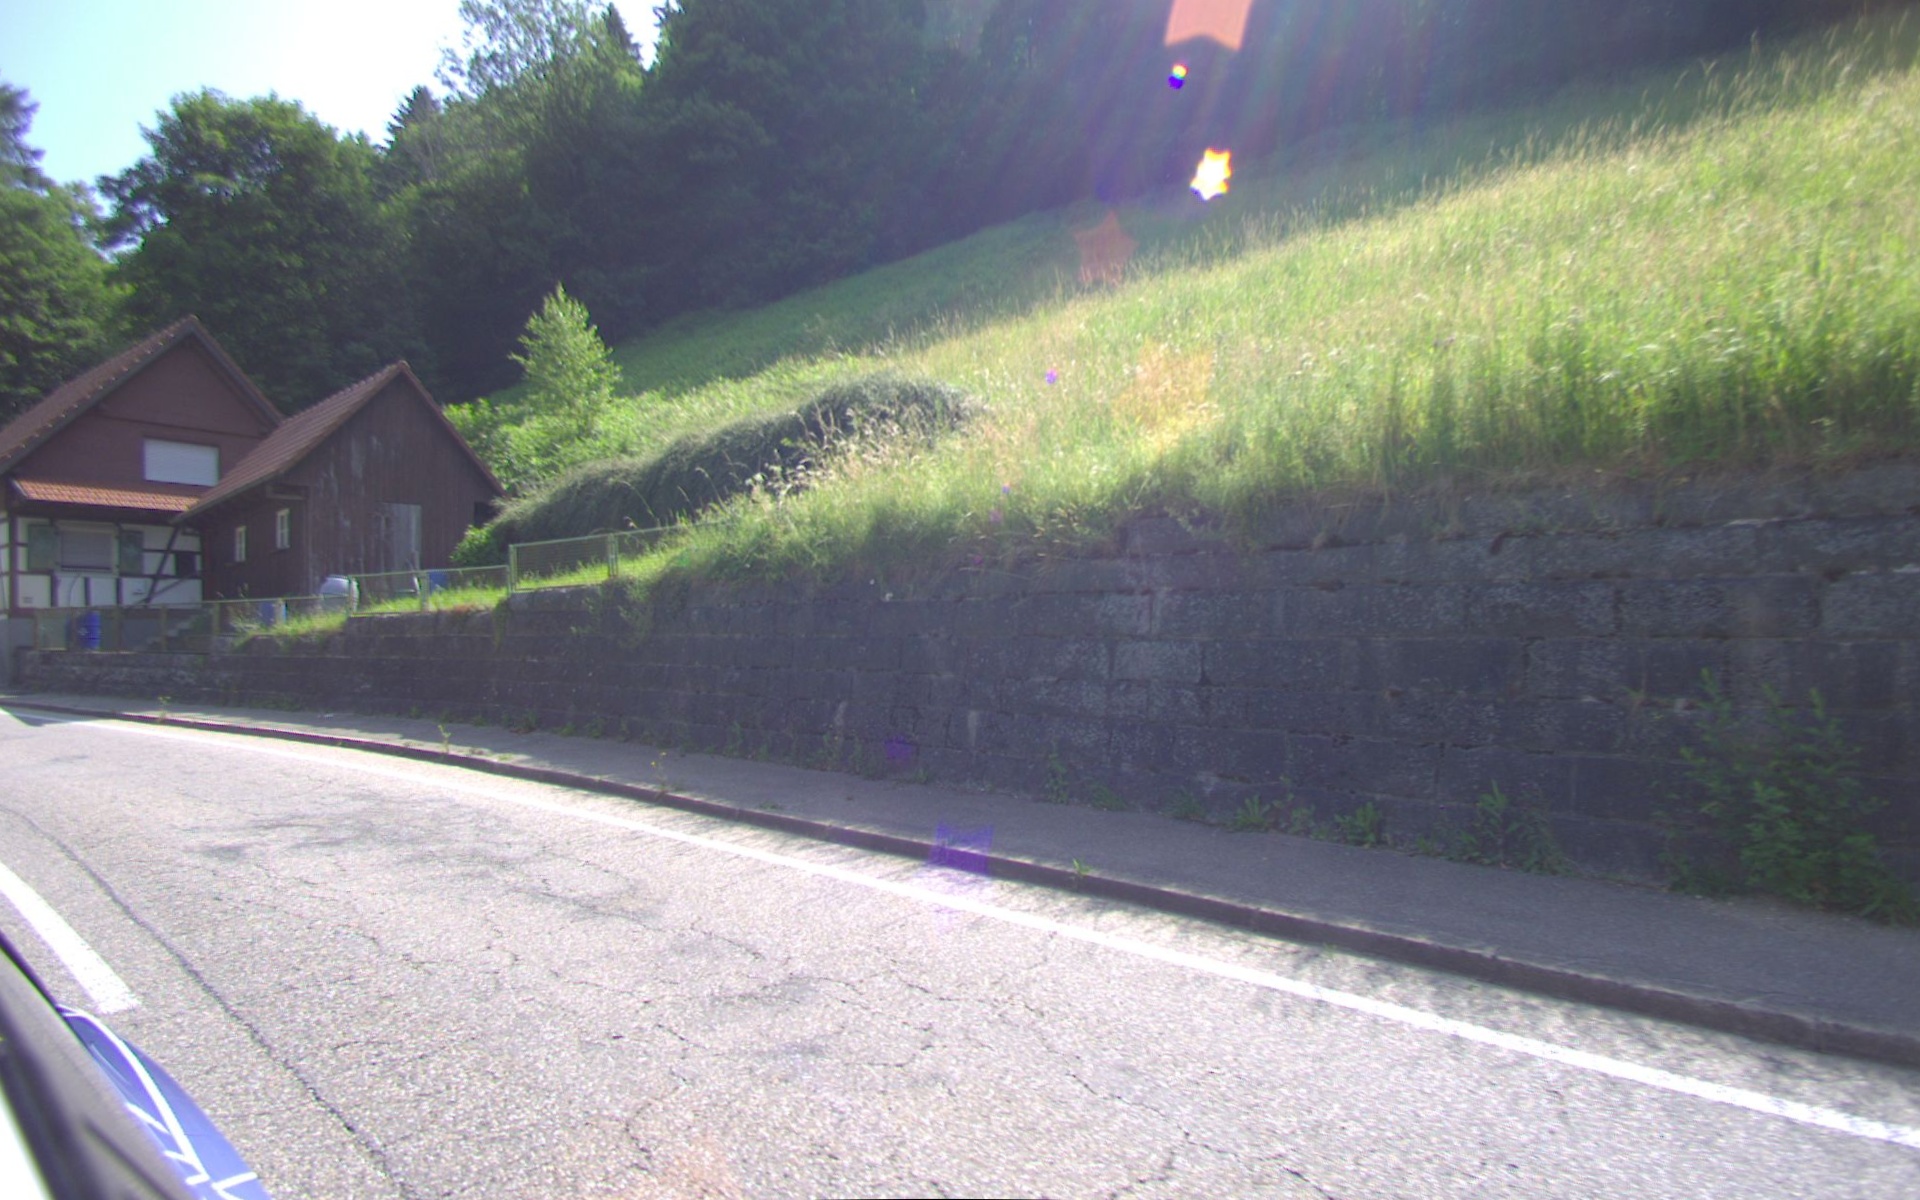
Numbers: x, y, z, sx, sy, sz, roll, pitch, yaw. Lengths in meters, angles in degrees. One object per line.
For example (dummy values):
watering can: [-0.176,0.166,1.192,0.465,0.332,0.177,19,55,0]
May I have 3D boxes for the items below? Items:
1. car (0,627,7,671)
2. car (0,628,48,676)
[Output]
car: [-32.930,1.632,31.936,1.849,1.427,3.792,-1,0,28]
car: [-30.569,1.606,30.786,1.855,1.444,3.791,0,-1,29]
